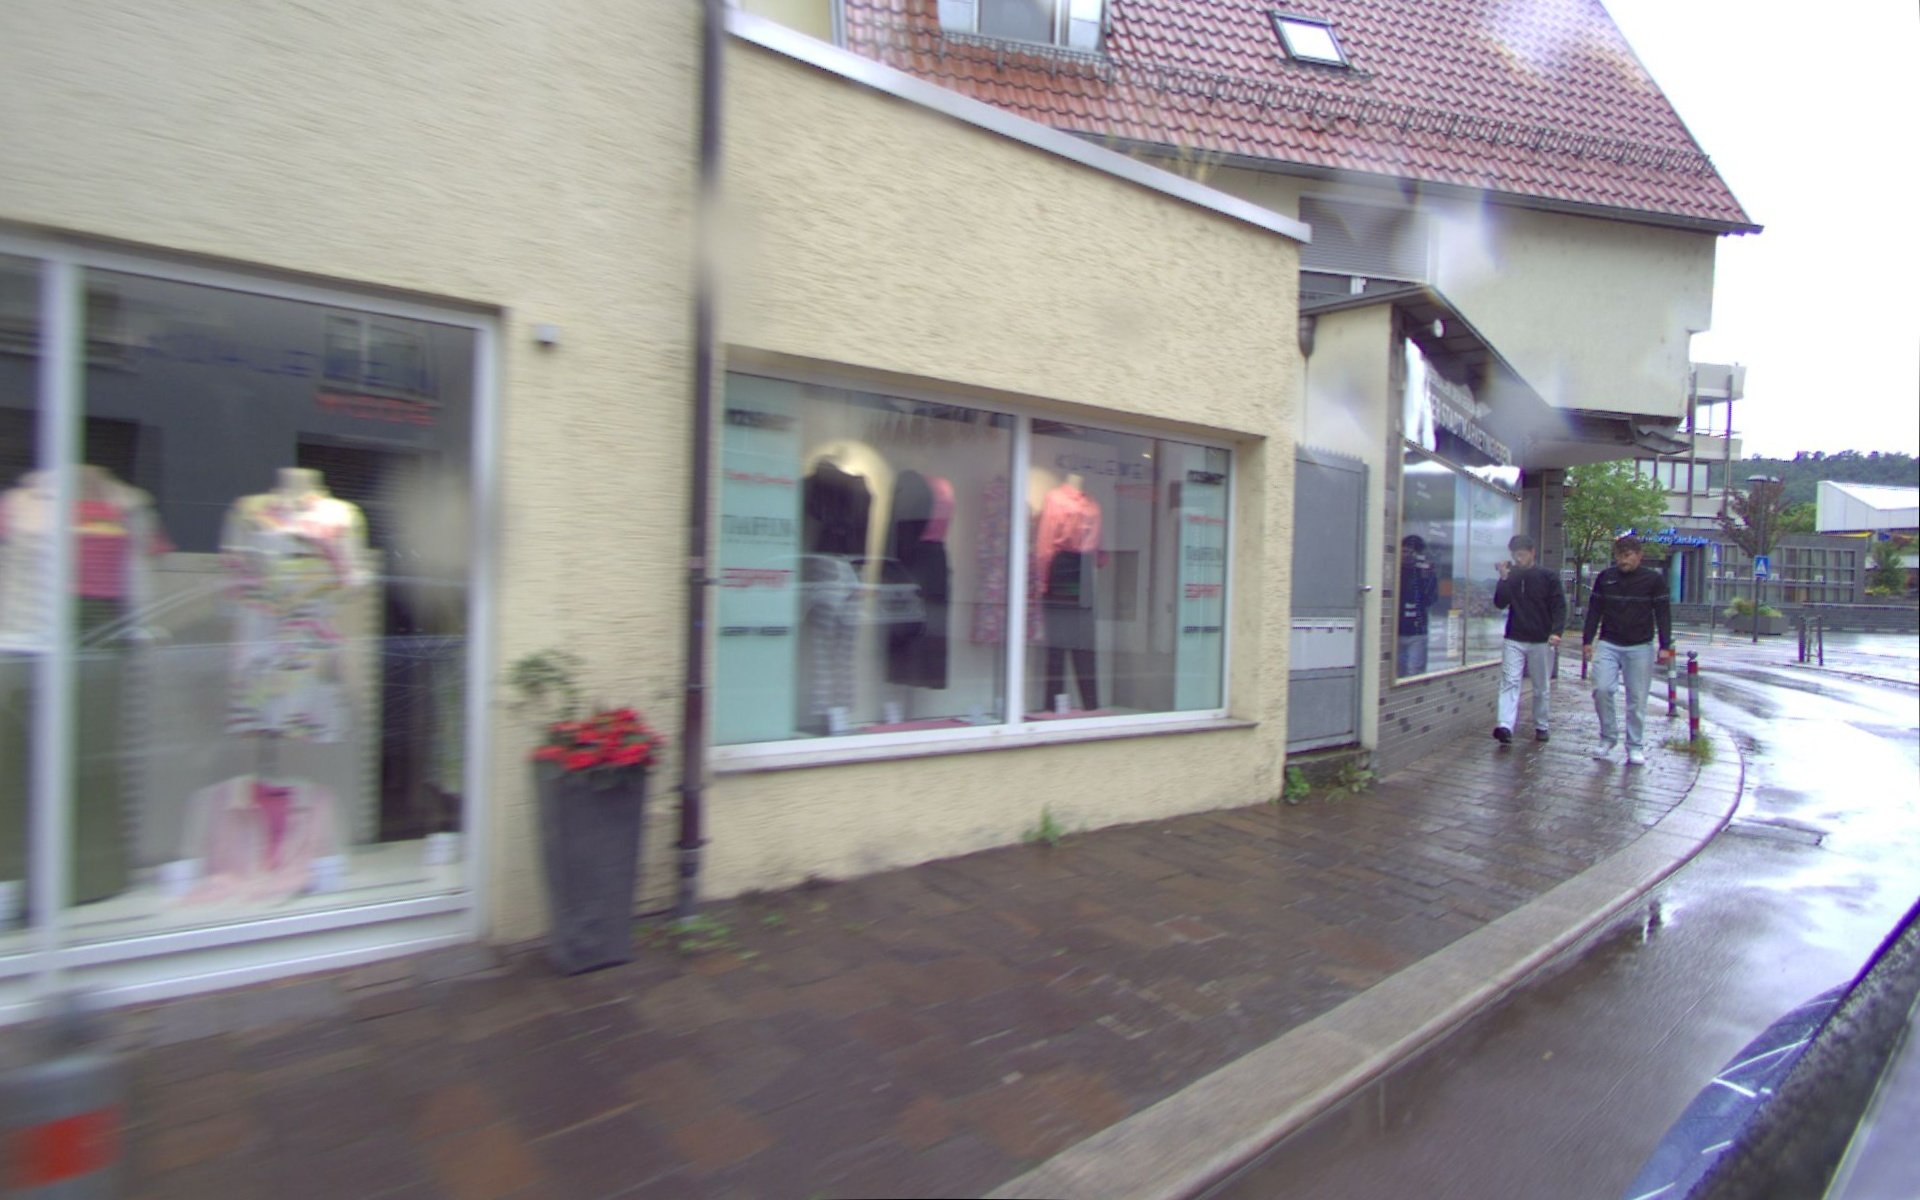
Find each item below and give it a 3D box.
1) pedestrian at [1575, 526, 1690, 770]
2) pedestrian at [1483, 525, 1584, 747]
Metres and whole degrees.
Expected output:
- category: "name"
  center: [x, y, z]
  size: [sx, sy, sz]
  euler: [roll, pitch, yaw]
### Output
- category: "pedestrian"
  center: [5.663, 0.363, 8.519]
  size: [0.769, 1.928, 0.795]
  euler: [0, 1, 36]
- category: "pedestrian"
  center: [5.255, 0.291, 9.268]
  size: [0.652, 1.926, 0.651]
  euler: [4, 3, 36]
